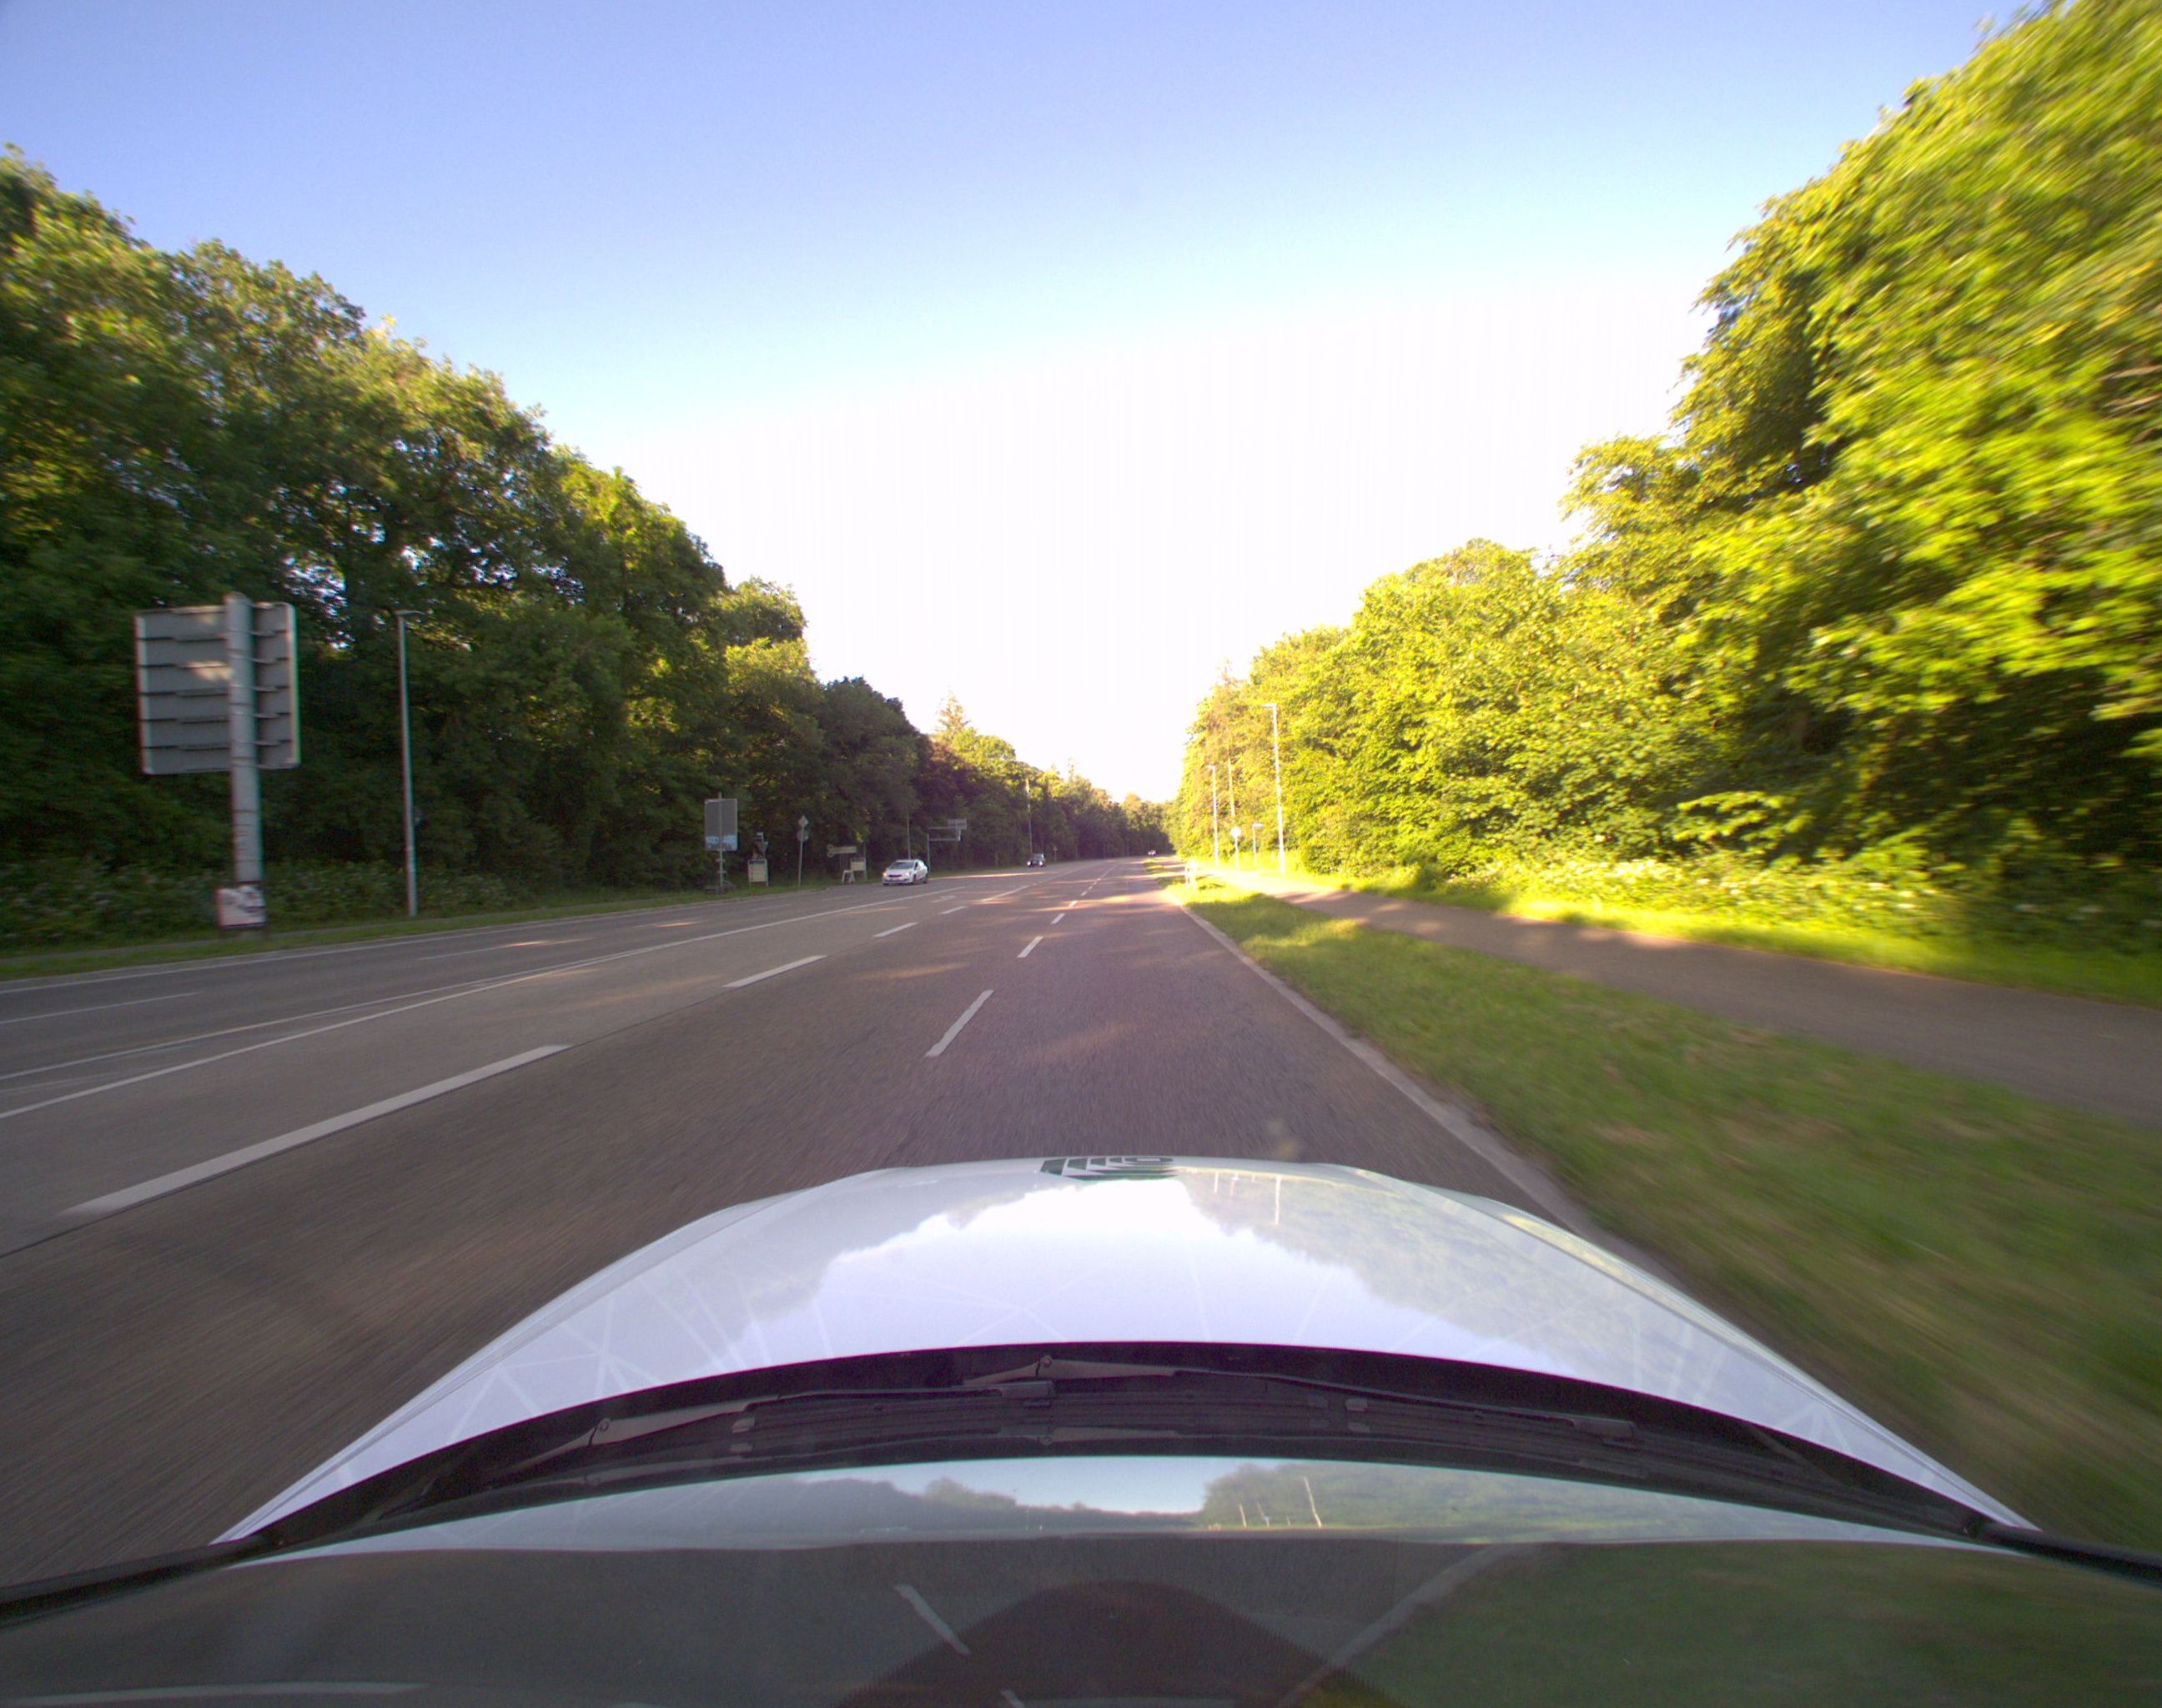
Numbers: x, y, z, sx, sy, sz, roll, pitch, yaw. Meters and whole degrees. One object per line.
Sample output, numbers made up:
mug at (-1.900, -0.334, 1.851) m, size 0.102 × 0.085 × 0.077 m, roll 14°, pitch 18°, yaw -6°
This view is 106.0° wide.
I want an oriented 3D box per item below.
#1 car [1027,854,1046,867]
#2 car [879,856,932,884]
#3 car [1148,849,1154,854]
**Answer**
car at (-5.522, 0.785, 102.207) m, size 1.817 × 1.589 × 4.356 m, roll -2°, pitch 0°, yaw 4°
car at (-10.113, 0.902, 47.185) m, size 1.817 × 1.504 × 4.311 m, roll -2°, pitch 0°, yaw 4°
car at (22.298, -0.779, 258.896) m, size 1.899 × 1.663 × 4.739 m, roll -2°, pitch 0°, yaw 4°
